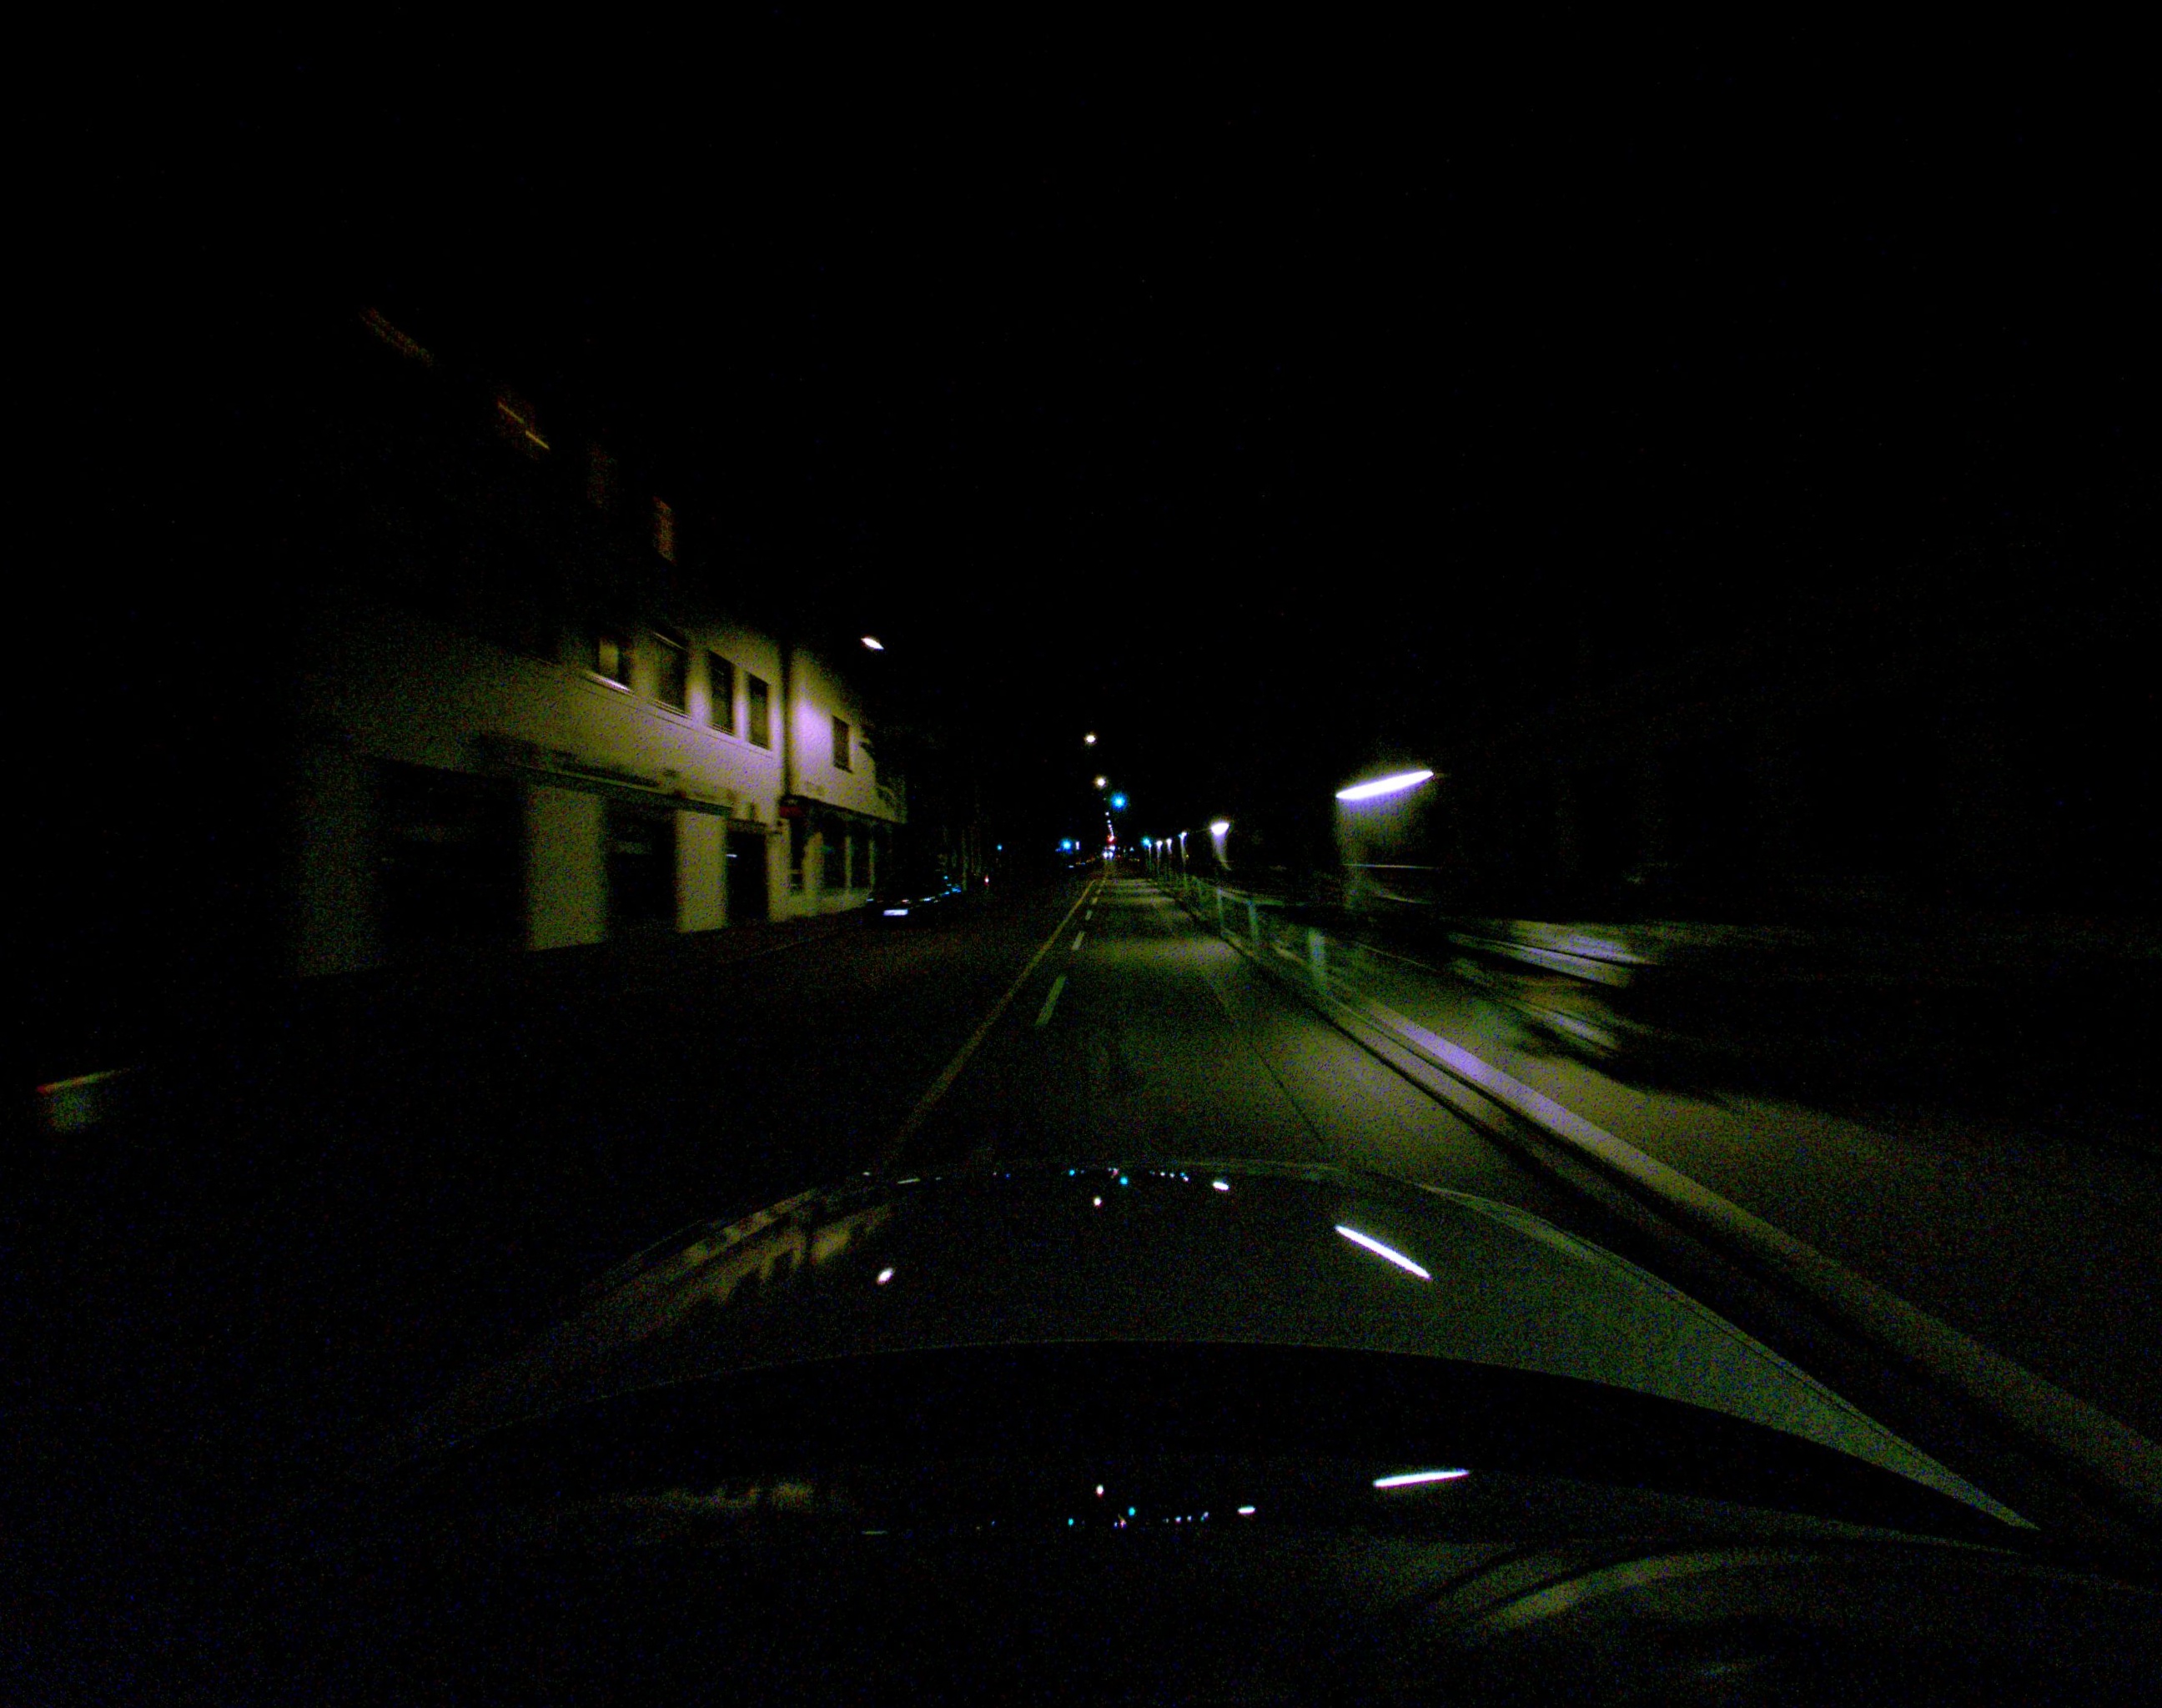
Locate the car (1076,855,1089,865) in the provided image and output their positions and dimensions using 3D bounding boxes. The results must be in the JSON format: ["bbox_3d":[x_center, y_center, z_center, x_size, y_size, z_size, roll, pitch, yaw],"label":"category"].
[{"bbox_3d":[0.322,0.949,130.516,1.866,1.544,4.207,-2,0,2],"label":"car"}]

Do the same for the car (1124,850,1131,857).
[{"bbox_3d":[13.115,-0.249,230.849,1.866,1.907,4.207,-2,0,2],"label":"car"}]

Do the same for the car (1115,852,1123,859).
[{"bbox_3d":[10.435,0.405,223.071,1.865,1.815,4.208,-2,0,3],"label":"car"}]

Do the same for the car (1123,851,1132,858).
[{"bbox_3d":[10.424,0.107,182.316,1.866,1.544,4.207,-2,0,2],"label":"car"}]

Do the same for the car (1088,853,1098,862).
[{"bbox_3d":[2.570,0.834,172.830,1.865,1.815,4.208,-2,0,3],"label":"car"}]

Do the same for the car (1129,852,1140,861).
[{"bbox_3d":[9.365,0.412,143.354,1.866,1.544,4.207,-2,0,2],"label":"car"}]

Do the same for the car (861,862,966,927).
[{"bbox_3d":[-4.221,0.981,21.160,1.664,1.443,4.207,-2,0,2],"label":"car"}]

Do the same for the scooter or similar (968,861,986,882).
[{"bbox_3d":[-6.002,1.031,47.159,0.526,1.165,2.508,-4,-2,2],"label":"scooter or similar"}]

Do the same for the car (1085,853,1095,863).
[{"bbox_3d":[1.742,0.785,154.882,1.866,1.814,4.207,-2,0,2],"label":"car"}]

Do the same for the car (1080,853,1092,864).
[{"bbox_3d":[0.862,0.787,136.589,1.866,1.814,4.207,-2,0,2],"label":"car"}]

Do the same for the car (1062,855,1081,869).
[{"bbox_3d":[-1.082,0.923,93.213,1.866,1.544,4.207,-2,0,2],"label":"car"}]

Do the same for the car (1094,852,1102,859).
[{"bbox_3d":[4.697,0.378,221.046,2.068,1.815,4.208,-2,0,3],"label":"car"}]
